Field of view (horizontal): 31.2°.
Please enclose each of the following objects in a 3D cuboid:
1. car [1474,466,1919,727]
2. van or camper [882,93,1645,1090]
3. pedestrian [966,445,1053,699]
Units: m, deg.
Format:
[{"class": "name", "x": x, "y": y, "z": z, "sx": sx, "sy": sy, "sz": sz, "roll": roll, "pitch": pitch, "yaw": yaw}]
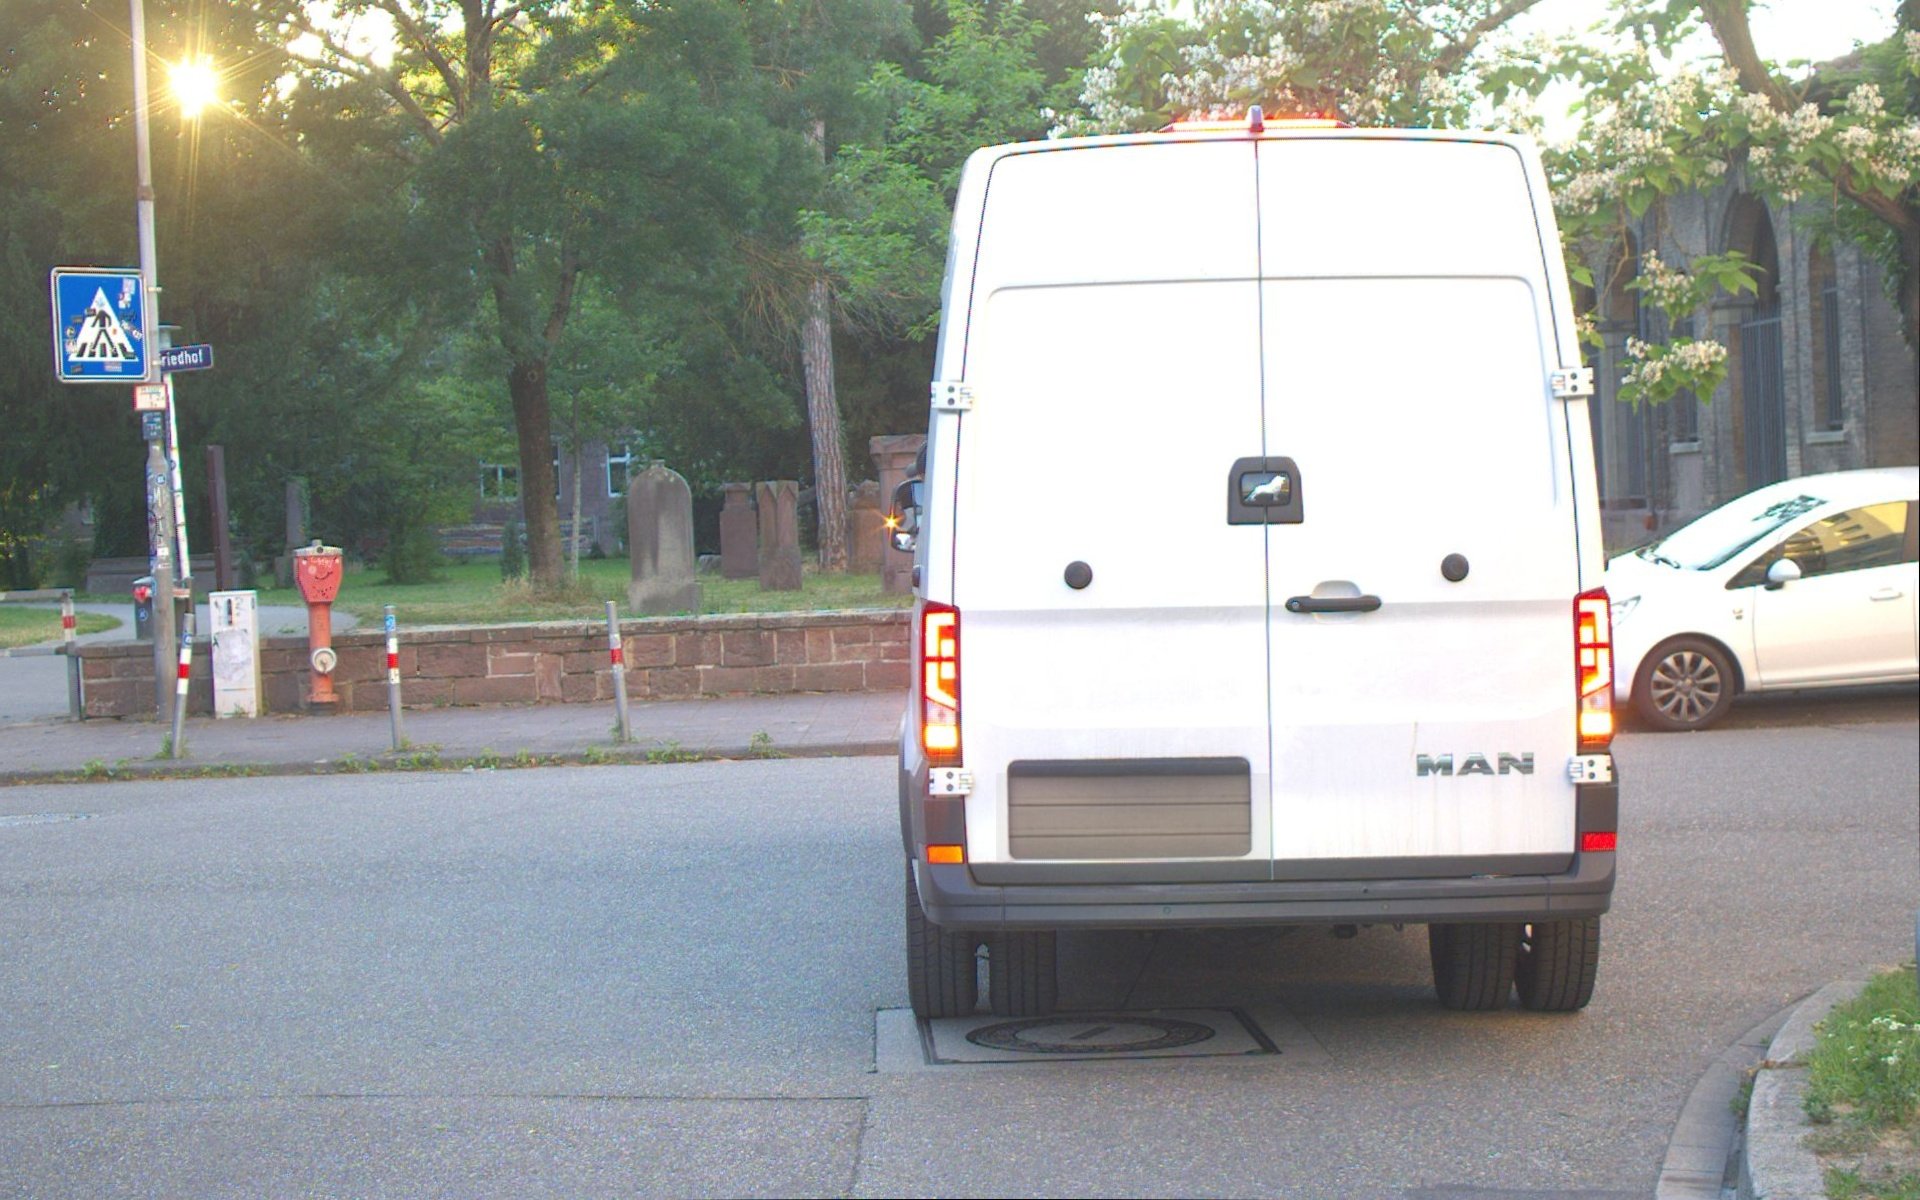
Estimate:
[{"class": "car", "x": 5.485, "y": -0.072, "z": 22.470, "sx": 3.854, "sy": 1.568, "sz": 1.958, "roll": -1, "pitch": 2, "yaw": -3}, {"class": "van or camper", "x": 0.813, "y": -0.106, "z": 12.219, "sx": 1.993, "sy": 2.609, "sz": 6.403, "roll": 0, "pitch": 2, "yaw": 0}, {"class": "pedestrian", "x": 0.350, "y": -0.207, "z": 24.749, "sx": 0.593, "sy": 1.803, "sz": 0.621, "roll": -1, "pitch": 1, "yaw": 0}]
